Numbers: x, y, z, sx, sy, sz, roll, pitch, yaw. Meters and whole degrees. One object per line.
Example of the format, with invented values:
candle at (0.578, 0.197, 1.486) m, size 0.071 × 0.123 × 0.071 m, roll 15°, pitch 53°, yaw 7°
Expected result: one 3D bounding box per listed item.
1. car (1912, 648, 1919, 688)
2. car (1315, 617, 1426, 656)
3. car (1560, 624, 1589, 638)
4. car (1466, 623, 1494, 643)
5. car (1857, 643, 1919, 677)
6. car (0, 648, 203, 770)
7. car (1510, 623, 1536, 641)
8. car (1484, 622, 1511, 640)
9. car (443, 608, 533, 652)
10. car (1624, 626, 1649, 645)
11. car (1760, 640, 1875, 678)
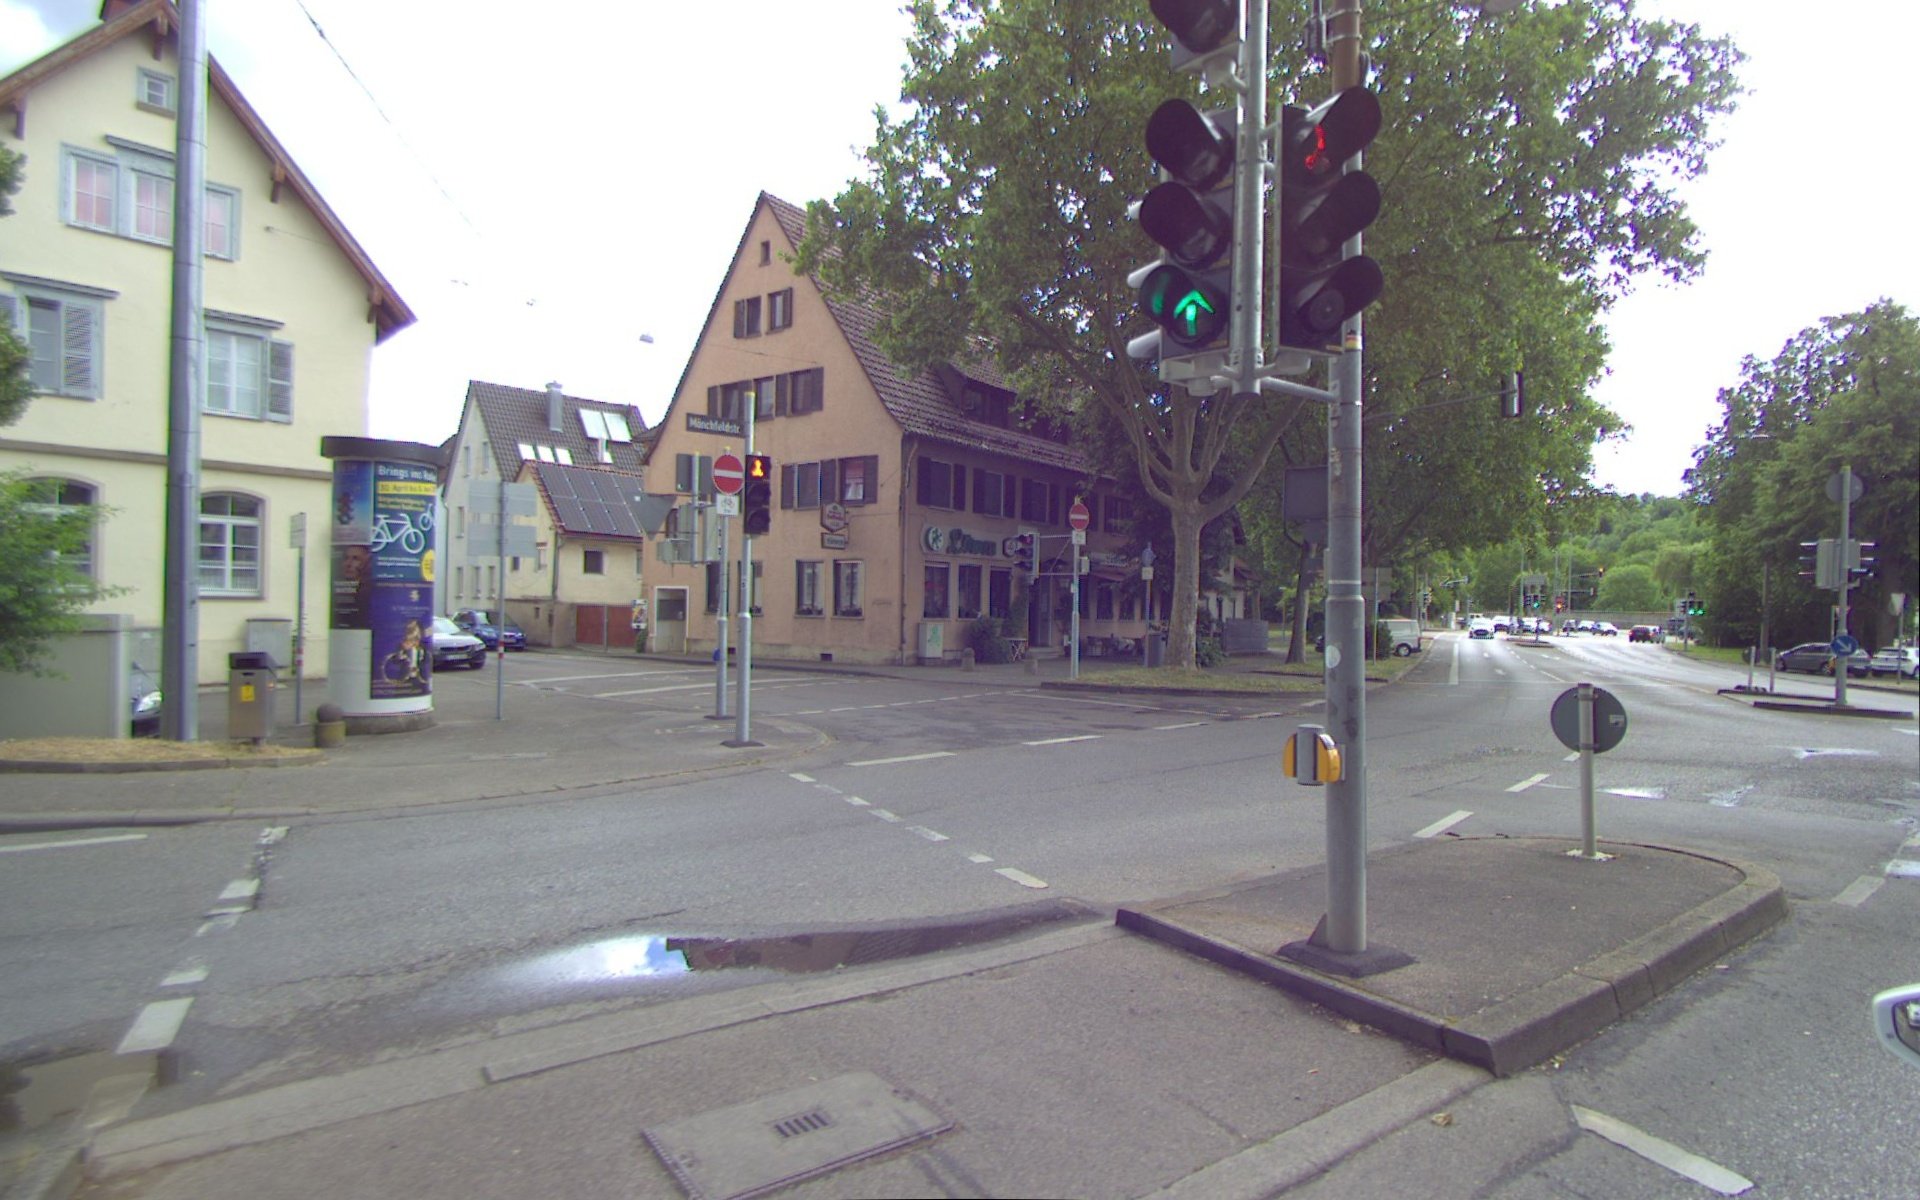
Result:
car at (34.747, 2.426, 34.119) m, size 1.542 × 1.423 × 3.495 m, roll 1°, pitch 0°, yaw 2°
car at (21.509, 1.914, 52.866) m, size 5.137 × 1.957 × 2.085 m, roll -1°, pitch -1°, yaw 14°
car at (80.145, 4.045, 131.019) m, size 3.020 × 1.258 × 1.428 m, roll 3°, pitch 14°, yaw 43°
car at (40.749, 2.587, 78.667) m, size 1.736 × 1.485 × 4.015 m, roll 2°, pitch -1°, yaw 30°
car at (43.693, 2.767, 46.052) m, size 4.189 × 1.399 × 1.760 m, roll 2°, pitch 0°, yaw -14°
car at (-11.364, 1.309, 12.901) m, size 3.340 × 1.327 × 1.481 m, roll -1°, pitch -2°, yaw 31°
car at (60.313, 3.413, 107.555) m, size 1.886 × 1.787 × 4.735 m, roll 1°, pitch 0°, yaw 36°
car at (52.291, 3.017, 97.711) m, size 1.773 × 1.608 × 4.400 m, roll -1°, pitch -1°, yaw 35°
car at (-18.042, 1.130, 38.372) m, size 3.615 × 1.534 × 1.819 m, roll 1°, pitch -1°, yaw 42°
car at (60.056, 3.133, 89.215) m, size 1.797 × 1.529 × 4.562 m, roll 1°, pitch -1°, yaw 33°
car at (40.070, 2.721, 47.060) m, size 1.700 × 1.448 × 4.110 m, roll 2°, pitch 1°, yaw -4°
